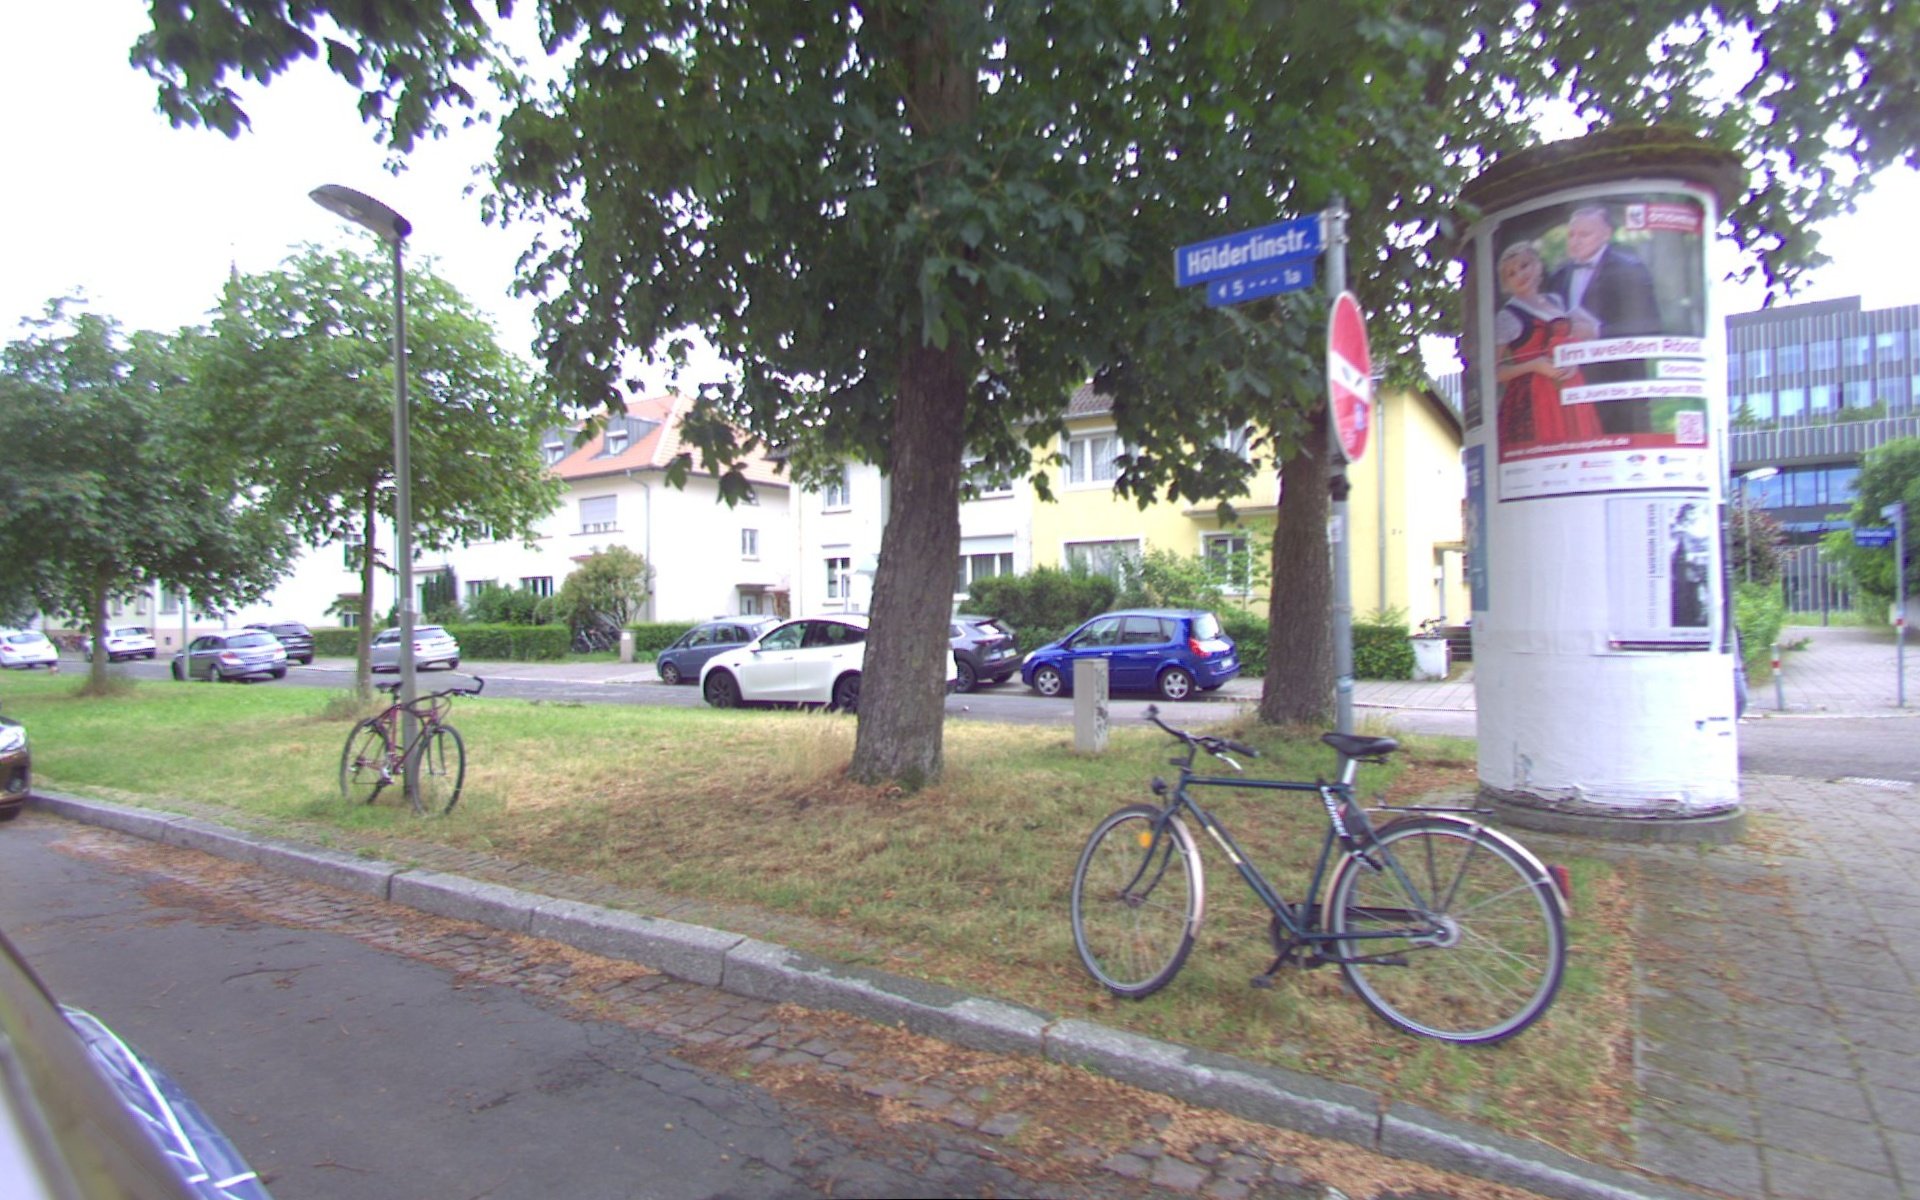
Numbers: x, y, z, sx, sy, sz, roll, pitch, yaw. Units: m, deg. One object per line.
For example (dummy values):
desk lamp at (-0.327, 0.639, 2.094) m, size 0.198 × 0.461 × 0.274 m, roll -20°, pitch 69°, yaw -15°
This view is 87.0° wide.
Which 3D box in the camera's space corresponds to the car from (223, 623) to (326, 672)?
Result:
car at (-26.552, 1.834, 39.161) m, size 4.089 × 1.686 × 1.786 m, roll -2°, pitch 2°, yaw 33°

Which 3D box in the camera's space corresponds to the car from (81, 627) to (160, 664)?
car at (-39.433, 2.130, 47.518) m, size 3.995 × 1.619 × 1.785 m, roll -2°, pitch 0°, yaw 33°

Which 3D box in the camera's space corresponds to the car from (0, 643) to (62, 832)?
car at (-9.520, 1.101, 8.617) m, size 4.150 × 1.469 × 1.697 m, roll -2°, pitch -6°, yaw 33°

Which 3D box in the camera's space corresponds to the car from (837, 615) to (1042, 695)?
car at (-0.486, 1.183, 21.911) m, size 4.154 × 1.511 × 1.701 m, roll -2°, pitch 0°, yaw 33°

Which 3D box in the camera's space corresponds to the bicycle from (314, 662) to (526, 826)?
bicycle at (-4.139, 1.030, 7.699) m, size 1.881 × 1.075 × 0.660 m, roll -2°, pitch -2°, yaw 35°

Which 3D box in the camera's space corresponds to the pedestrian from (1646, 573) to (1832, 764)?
pedestrian at (8.038, 0.678, 10.516) m, size 0.865 × 1.850 × 1.221 m, roll -1°, pitch -1°, yaw -6°

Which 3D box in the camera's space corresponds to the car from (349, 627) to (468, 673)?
car at (-18.110, 1.635, 33.204) m, size 3.930 × 1.365 × 1.785 m, roll -2°, pitch 0°, yaw 33°

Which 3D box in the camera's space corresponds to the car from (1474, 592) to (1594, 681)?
car at (11.839, 0.716, 20.754) m, size 1.838 × 1.623 × 3.954 m, roll -2°, pitch -2°, yaw 33°

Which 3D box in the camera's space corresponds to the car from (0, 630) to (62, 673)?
car at (-36.508, 1.977, 39.066) m, size 3.995 × 1.499 × 1.785 m, roll -2°, pitch 0°, yaw 33°

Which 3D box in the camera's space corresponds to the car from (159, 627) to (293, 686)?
car at (-20.998, 1.593, 28.918) m, size 3.995 × 1.499 × 1.785 m, roll -2°, pitch 0°, yaw 33°

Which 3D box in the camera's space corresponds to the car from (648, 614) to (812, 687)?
car at (-5.780, 1.254, 25.314) m, size 3.872 × 1.614 × 1.701 m, roll -2°, pitch 0°, yaw 32°

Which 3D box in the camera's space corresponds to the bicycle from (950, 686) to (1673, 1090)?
bicycle at (1.044, 0.823, 3.433) m, size 2.174 × 0.993 × 0.507 m, roll -2°, pitch 0°, yaw 31°

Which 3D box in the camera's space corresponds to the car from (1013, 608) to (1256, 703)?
car at (3.241, 1.017, 19.211) m, size 4.203 × 1.578 × 1.684 m, roll -2°, pitch 0°, yaw 37°

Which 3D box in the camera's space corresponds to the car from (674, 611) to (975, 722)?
car at (-2.306, 1.038, 16.651) m, size 4.869 × 1.578 × 1.881 m, roll -2°, pitch -2°, yaw 33°

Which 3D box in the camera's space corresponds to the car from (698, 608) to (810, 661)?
car at (-7.865, 1.293, 38.940) m, size 1.994 × 1.741 × 3.955 m, roll -2°, pitch 1°, yaw 33°
